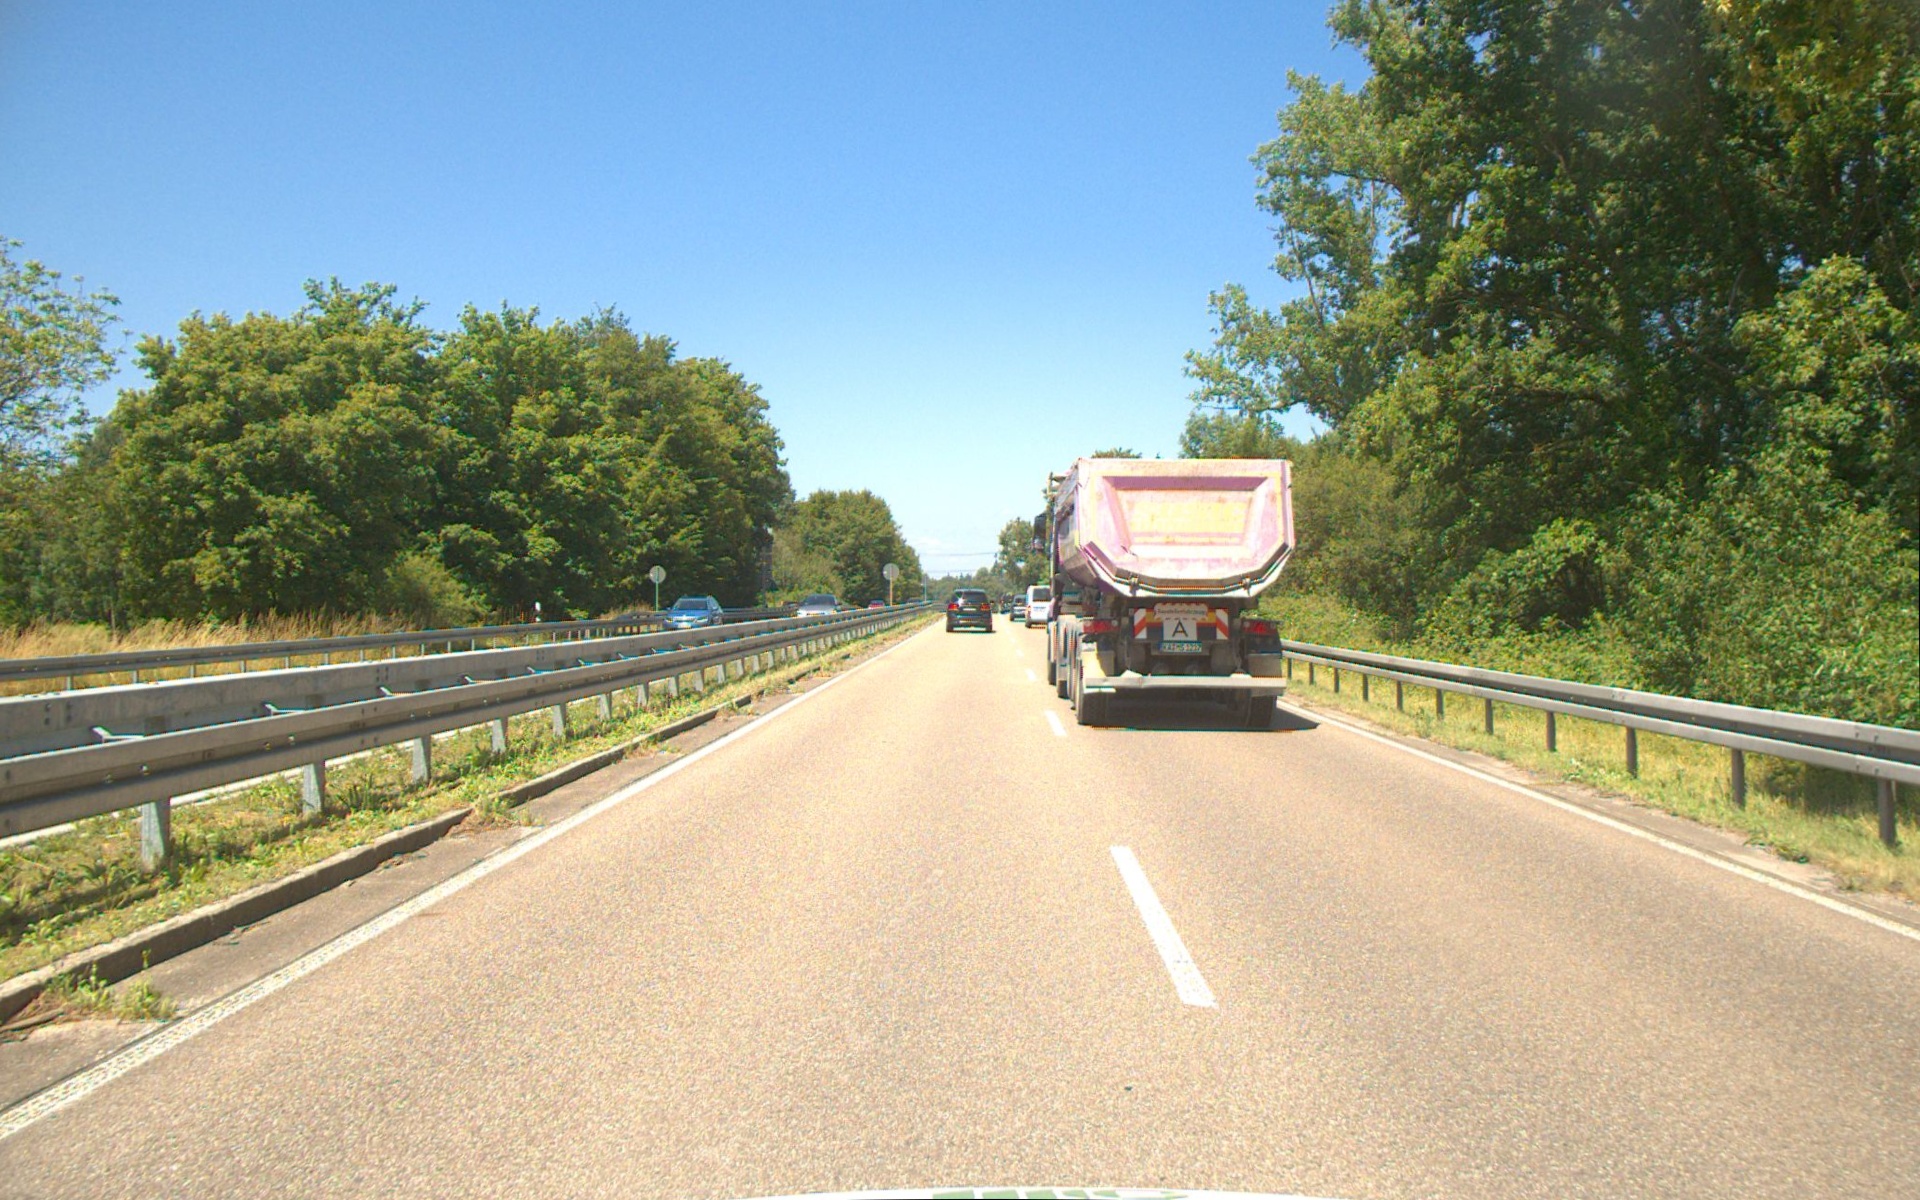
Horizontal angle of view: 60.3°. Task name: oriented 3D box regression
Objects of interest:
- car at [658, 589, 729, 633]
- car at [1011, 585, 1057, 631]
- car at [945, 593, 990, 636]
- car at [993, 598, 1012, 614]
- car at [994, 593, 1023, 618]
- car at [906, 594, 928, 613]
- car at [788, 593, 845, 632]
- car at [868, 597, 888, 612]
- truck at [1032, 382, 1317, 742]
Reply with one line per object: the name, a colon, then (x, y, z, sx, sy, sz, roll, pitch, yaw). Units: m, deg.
car: (-10.009, 0.381, 62.465, 1.775, 1.570, 4.929, -1, 0, 1)
car: (3.494, 0.369, 78.767, 1.953, 2.113, 3.999, -1, 0, -1)
car: (0.308, 0.616, 68.701, 1.819, 1.701, 3.999, 1, -1, 0)
car: (3.933, 0.542, 153.857, 1.571, 1.445, 3.521, -1, 0, -1)
car: (2.912, 0.325, 100.030, 1.571, 1.445, 3.521, -1, 0, -1)
car: (-4.514, 0.364, 173.199, 1.952, 1.825, 4.749, -1, 0, 2)
car: (-6.555, 0.537, 75.827, 1.952, 1.660, 4.554, -1, 0, 3)
car: (-8.466, 0.459, 170.446, 1.760, 1.415, 4.000, -1, 0, 0)
truck: (2.672, -0.448, 24.652, 2.664, 3.999, 12.370, 0, 0, 0)
